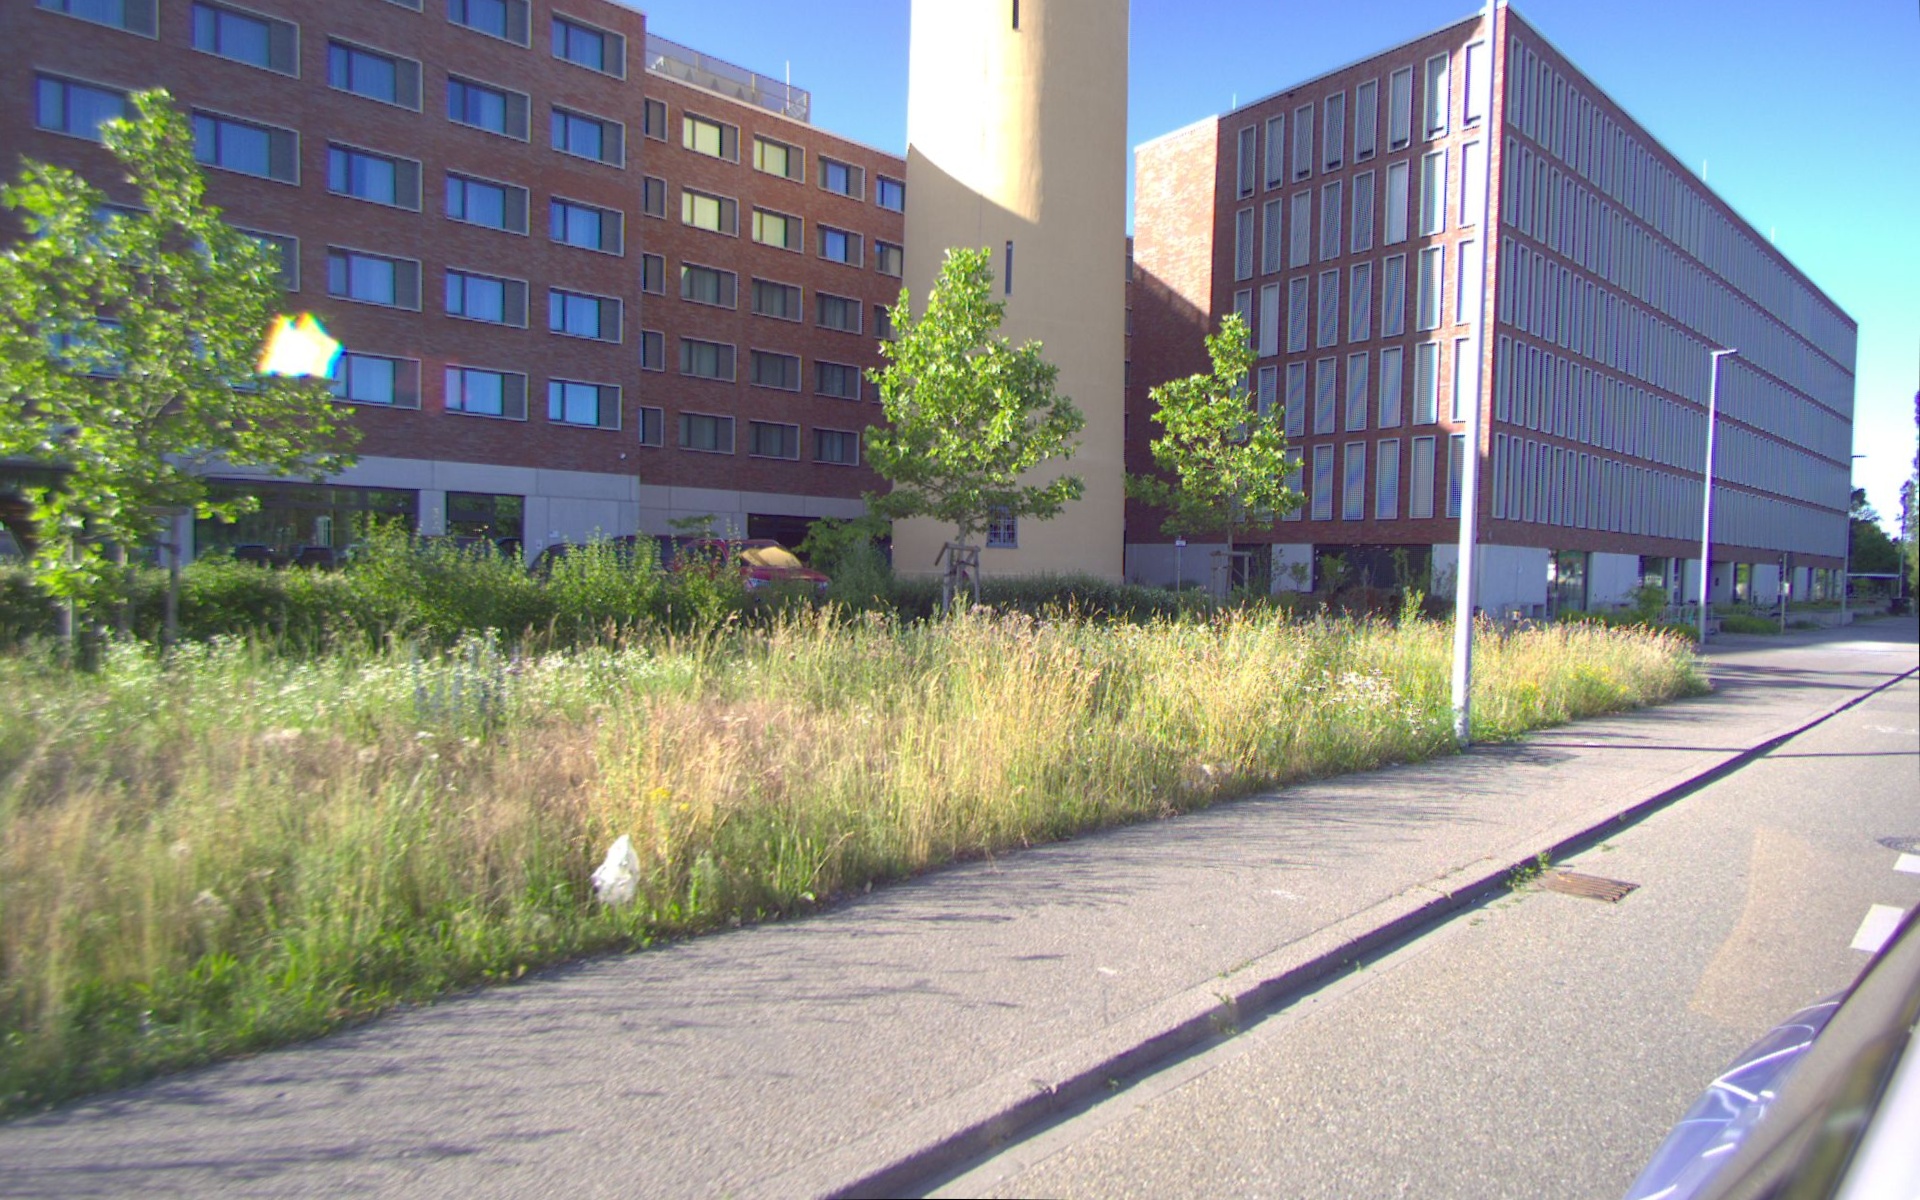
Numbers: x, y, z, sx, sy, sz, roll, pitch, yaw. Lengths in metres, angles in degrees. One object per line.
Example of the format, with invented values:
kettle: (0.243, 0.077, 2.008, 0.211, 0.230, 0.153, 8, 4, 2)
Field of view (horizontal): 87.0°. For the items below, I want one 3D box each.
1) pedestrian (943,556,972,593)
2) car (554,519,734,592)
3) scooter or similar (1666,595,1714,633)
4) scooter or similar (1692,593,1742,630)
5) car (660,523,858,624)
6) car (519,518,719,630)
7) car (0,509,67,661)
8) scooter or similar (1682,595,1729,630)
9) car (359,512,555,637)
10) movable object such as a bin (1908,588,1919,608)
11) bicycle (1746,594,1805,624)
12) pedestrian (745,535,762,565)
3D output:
pedestrian: (-0.086, -0.836, 33.122, 0.800, 1.150, 0.758, 2, 3, -7)
car: (-9.333, -1.271, 30.130, 4.709, 1.959, 1.975, 0, 1, -41)
scooter or similar: (24.917, 0.459, 34.551, 0.334, 1.209, 1.247, 1, 2, -37)
scooter or similar: (27.382, 0.402, 36.602, 0.416, 1.260, 1.344, 0, 2, -37)
car: (-3.745, -0.482, 18.329, 1.818, 1.600, 4.195, 0, 1, -38)
car: (-5.703, -0.430, 16.612, 1.818, 1.600, 4.195, 0, 1, -38)
car: (-11.884, -0.223, 11.890, 1.818, 1.600, 4.195, 0, 1, -38)
scooter or similar: (26.184, 0.432, 35.563, 0.359, 1.170, 1.247, 0, 2, -37)
car: (-7.638, -0.388, 15.154, 1.818, 1.600, 4.195, 0, 1, -38)
movable object such as a bin: (66.540, -0.136, 70.138, 1.323, 1.352, 1.130, 0, 3, -43)
bicycle: (35.788, 0.374, 44.419, 1.932, 1.184, 0.369, 5, 3, 43)
pedestrian: (-7.866, -1.897, 38.513, 0.341, 1.154, 0.525, 2, 2, 44)
